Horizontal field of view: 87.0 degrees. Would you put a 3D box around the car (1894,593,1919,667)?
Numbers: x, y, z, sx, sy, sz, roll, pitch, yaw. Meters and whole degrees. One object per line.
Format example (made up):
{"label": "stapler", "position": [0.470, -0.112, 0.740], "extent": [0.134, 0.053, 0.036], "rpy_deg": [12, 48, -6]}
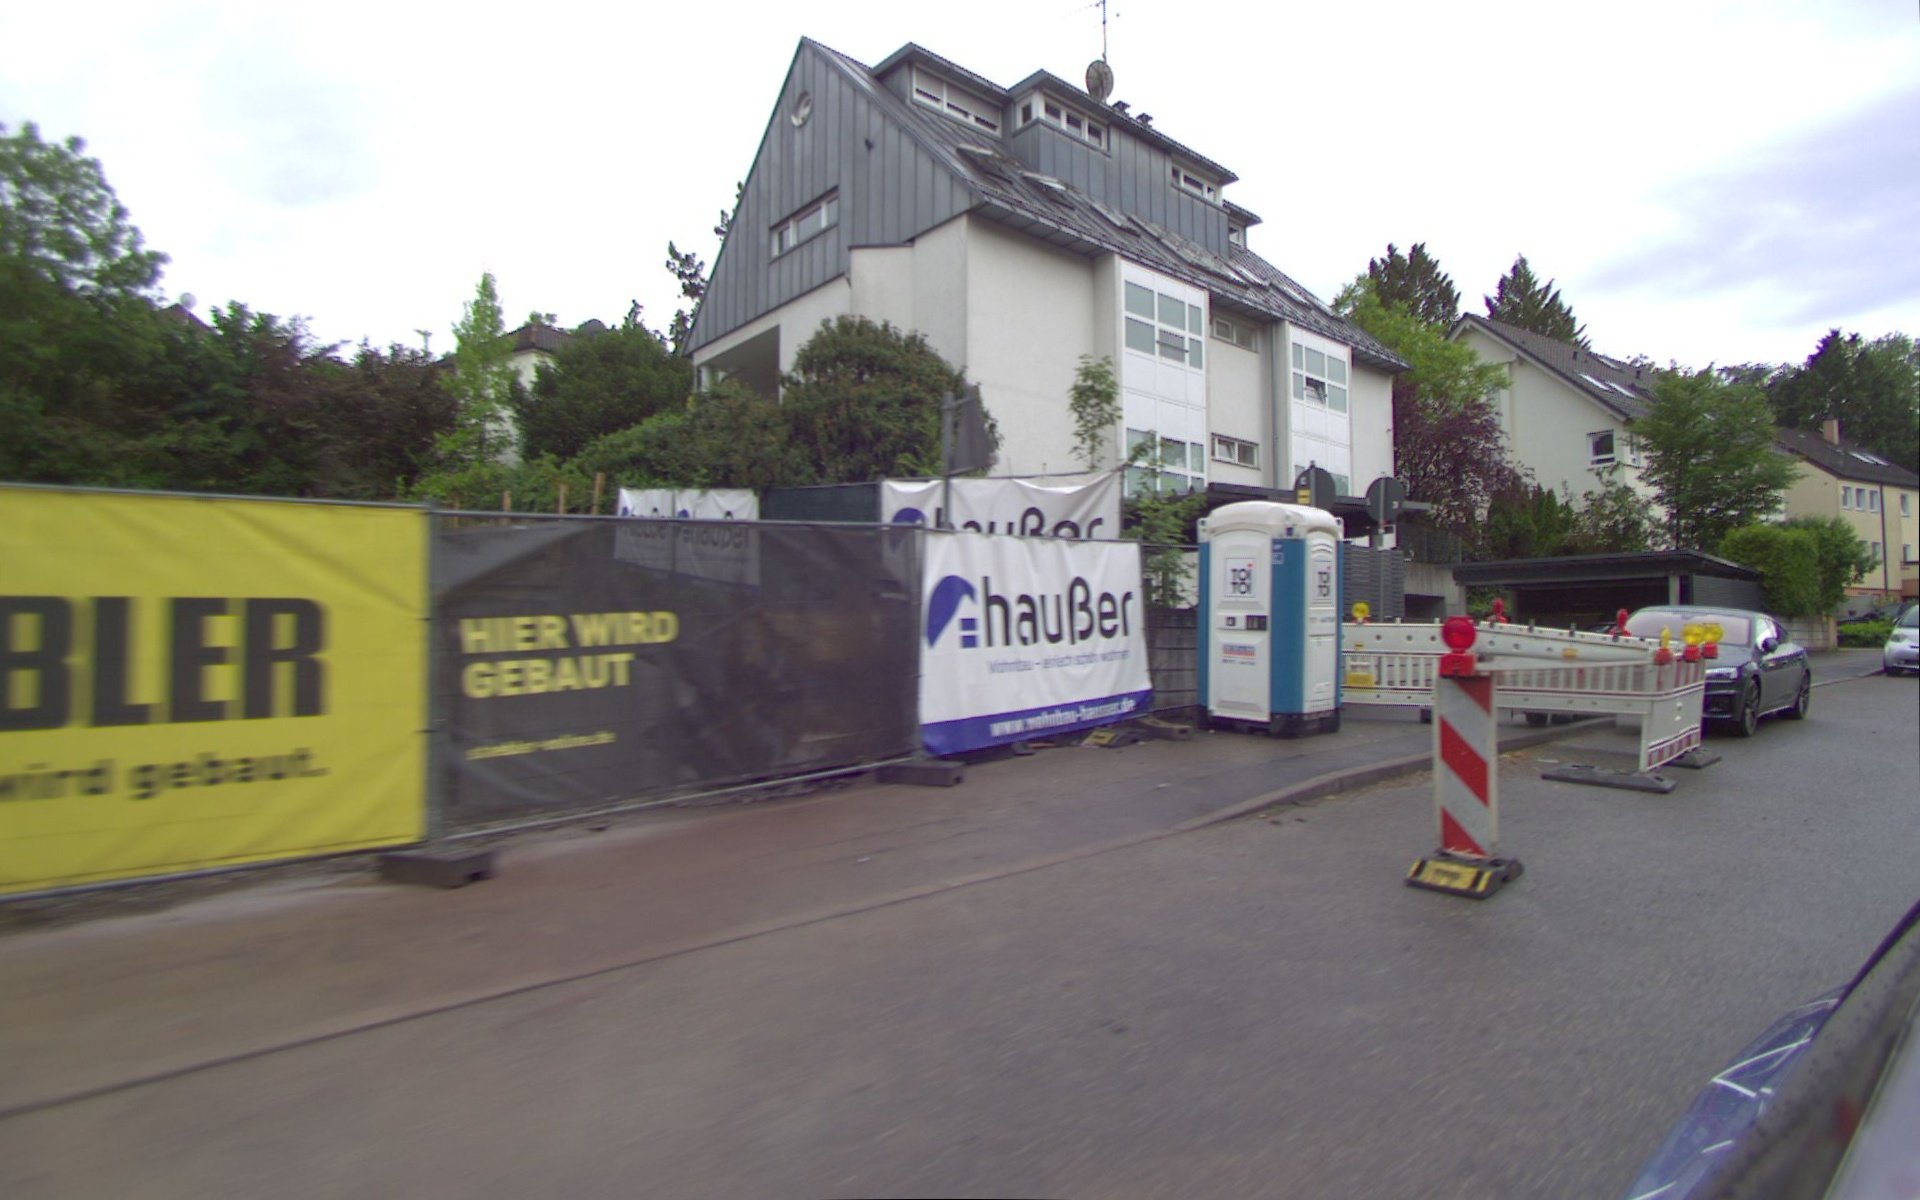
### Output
{"label": "car", "position": [20.823, 0.589, 20.898], "extent": [3.322, 1.476, 1.678], "rpy_deg": [0, 0, -37]}

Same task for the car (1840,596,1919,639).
{"label": "car", "position": [38.733, 0.643, 40.872], "extent": [1.953, 1.617, 4.341], "rpy_deg": [0, -4, -33]}

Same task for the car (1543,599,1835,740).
{"label": "car", "position": [9.214, 0.704, 12.625], "extent": [4.753, 1.440, 1.935], "rpy_deg": [0, 0, -41]}

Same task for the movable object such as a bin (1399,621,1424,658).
{"label": "movable object such as a bin", "position": [12.963, 1.119, 29.061], "extent": [0.562, 1.036, 0.424], "rpy_deg": [0, -2, -39]}

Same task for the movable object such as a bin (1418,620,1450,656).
{"label": "movable object such as a bin", "position": [14.155, 1.127, 30.225], "extent": [0.661, 1.036, 0.644], "rpy_deg": [0, -1, -39]}

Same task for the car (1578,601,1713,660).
{"label": "car", "position": [17.671, 0.768, 26.040], "extent": [3.928, 1.415, 1.738], "rpy_deg": [0, -3, -39]}
